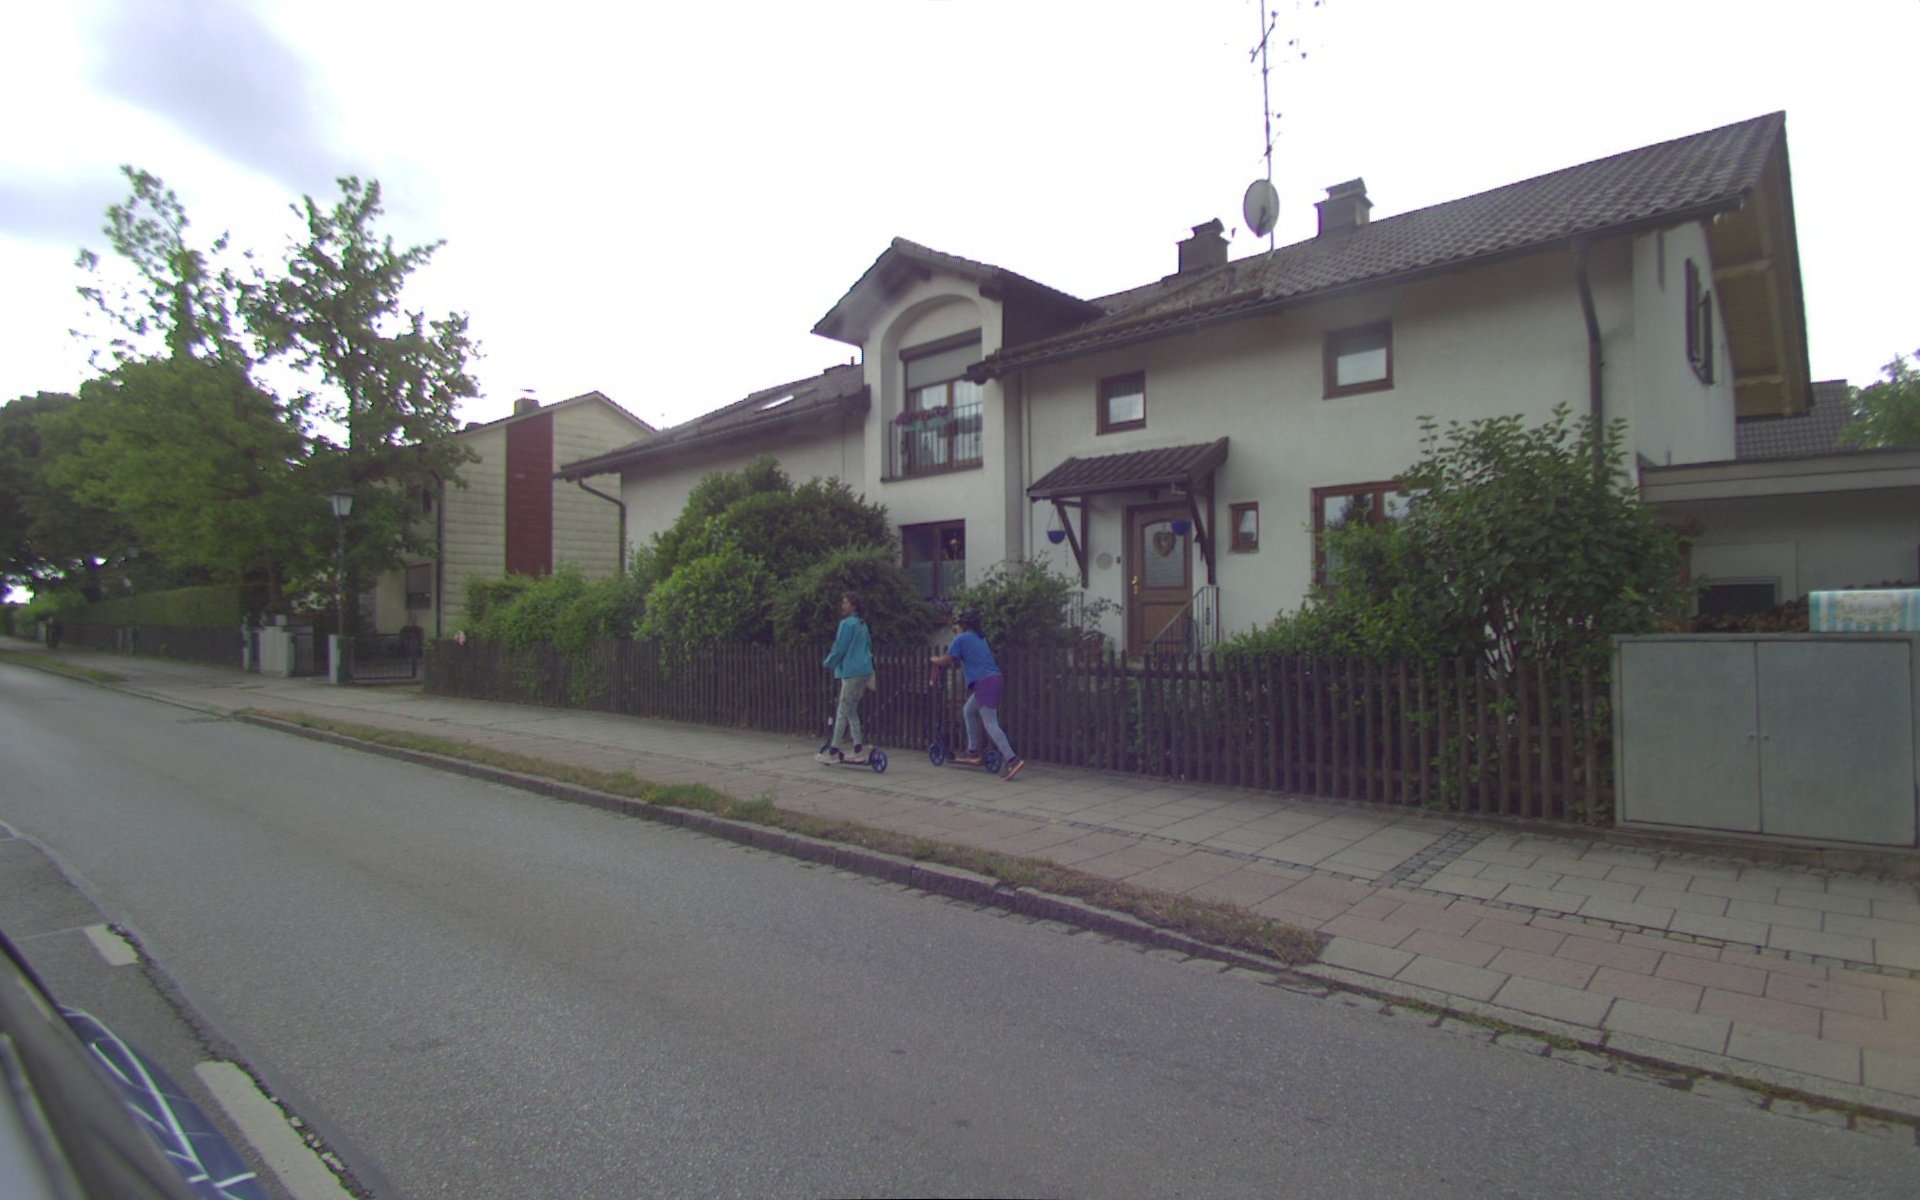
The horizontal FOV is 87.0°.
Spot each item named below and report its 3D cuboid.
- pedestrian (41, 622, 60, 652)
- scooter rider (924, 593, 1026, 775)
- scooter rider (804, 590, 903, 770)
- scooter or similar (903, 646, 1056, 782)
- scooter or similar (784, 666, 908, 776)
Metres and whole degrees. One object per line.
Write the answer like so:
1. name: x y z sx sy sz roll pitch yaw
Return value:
1. pedestrian: -43.893 1.780 48.849 0.563 1.448 0.622 -2 -2 41
2. scooter rider: 0.135 0.694 8.704 0.580 1.484 0.655 -2 -1 42
3. scooter rider: -0.933 0.673 8.850 0.716 1.501 0.497 -2 -1 42
4. scooter or similar: 0.157 0.936 8.687 1.178 1.045 0.654 -2 -2 43
5. scooter or similar: -1.013 1.037 8.931 1.061 0.856 0.516 -2 -1 42
